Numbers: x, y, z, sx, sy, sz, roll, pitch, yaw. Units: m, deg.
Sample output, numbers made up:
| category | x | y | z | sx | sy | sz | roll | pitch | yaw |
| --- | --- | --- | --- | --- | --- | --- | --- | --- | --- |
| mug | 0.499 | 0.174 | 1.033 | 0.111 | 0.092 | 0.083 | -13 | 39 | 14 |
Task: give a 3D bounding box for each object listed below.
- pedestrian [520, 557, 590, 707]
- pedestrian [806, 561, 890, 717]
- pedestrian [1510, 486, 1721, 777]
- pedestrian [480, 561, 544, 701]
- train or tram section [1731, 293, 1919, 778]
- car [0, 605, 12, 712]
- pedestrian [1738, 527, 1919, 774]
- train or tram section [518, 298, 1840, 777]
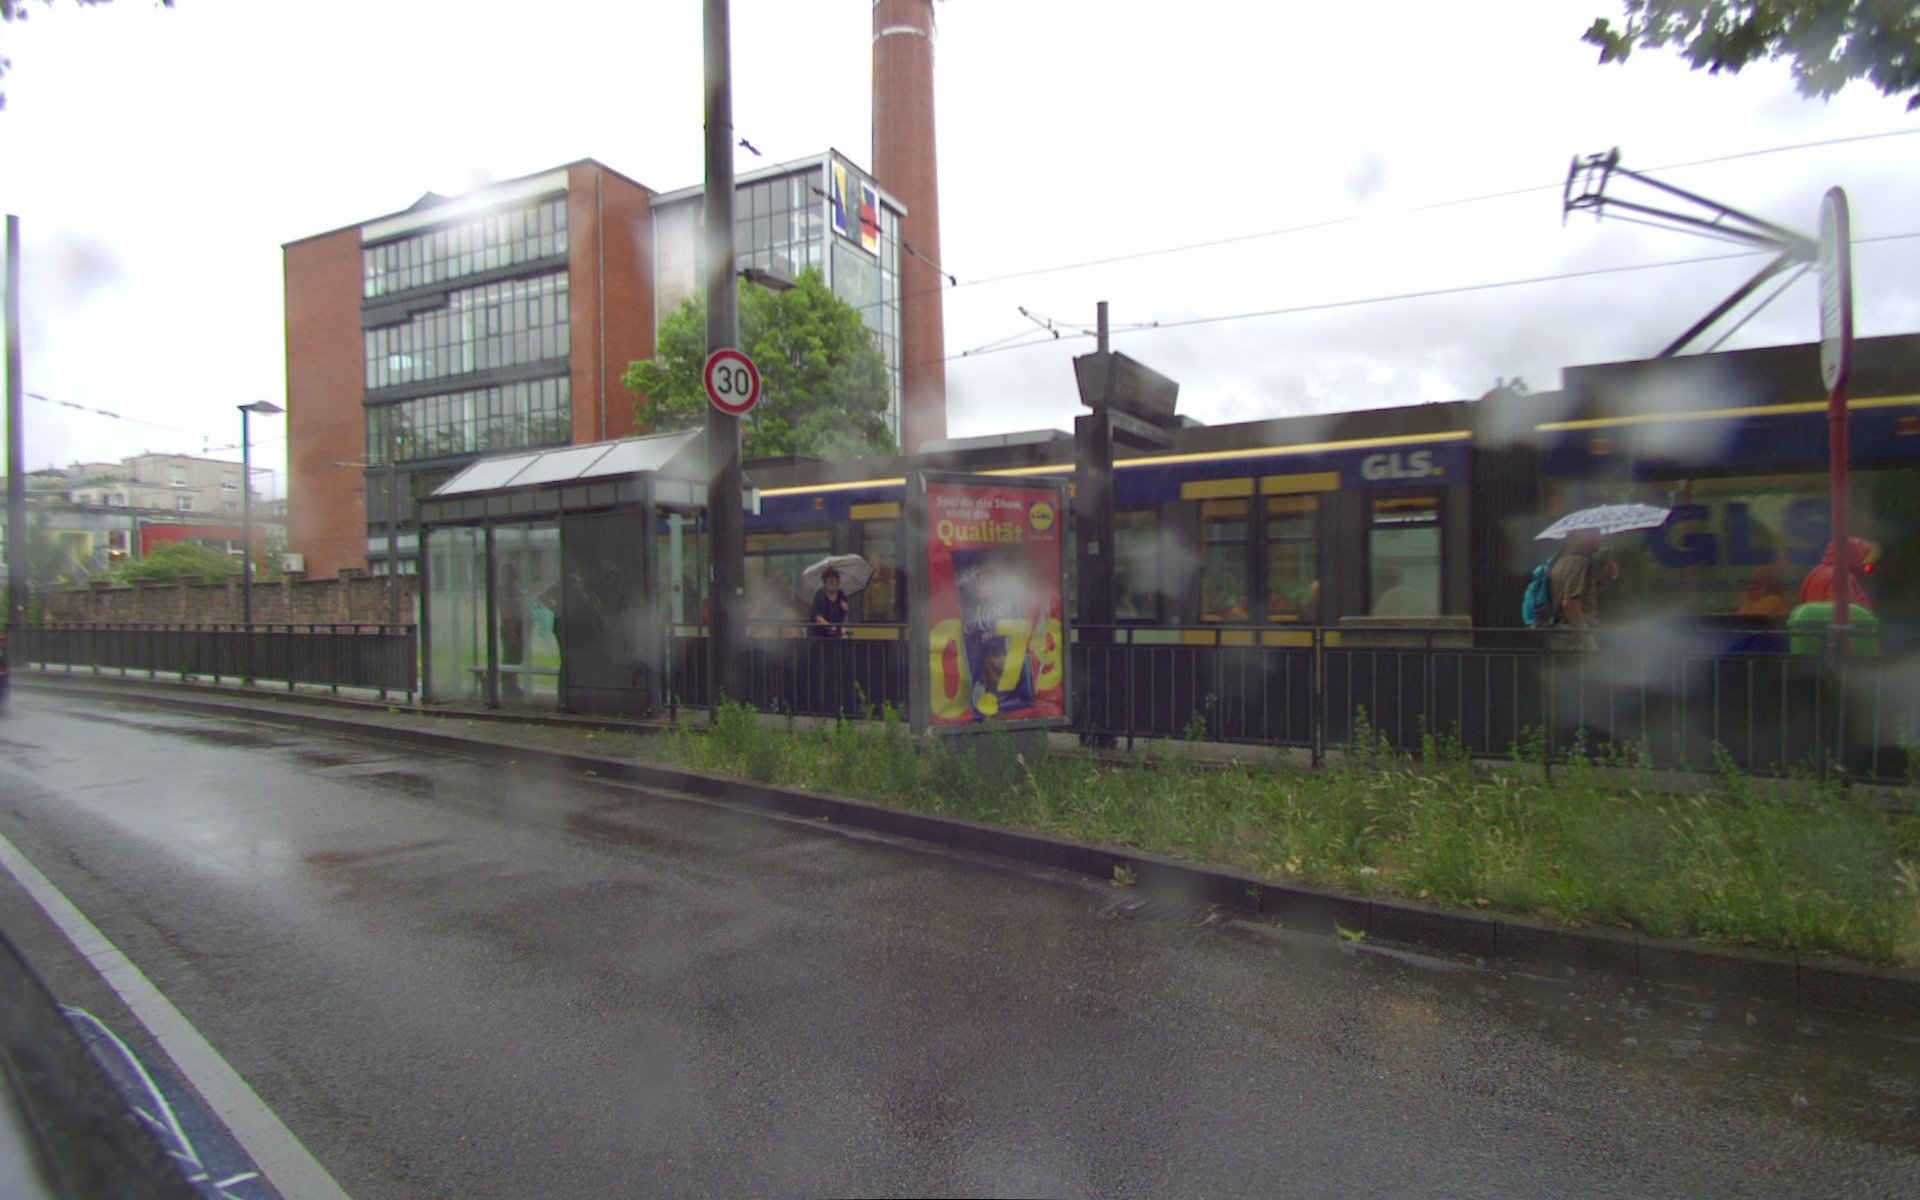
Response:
| category | x | y | z | sx | sy | sz | roll | pitch | yaw |
| --- | --- | --- | --- | --- | --- | --- | --- | --- | --- |
| pedestrian | -4.916 | 0.377 | 12.275 | 0.620 | 1.762 | 0.565 | -1 | 0 | -41 |
| pedestrian | -1.205 | 0.426 | 10.920 | 0.504 | 1.610 | 0.790 | -4 | -4 | 30 |
| pedestrian | 4.537 | 0.238 | 7.110 | 1.072 | 1.840 | 0.975 | -4 | -4 | 30 |
| pedestrian | -5.783 | 0.388 | 13.073 | 0.620 | 1.762 | 0.515 | -1 | 0 | -41 |
| train or tram section | 13.363 | -0.594 | 5.950 | 13.641 | 3.572 | 2.844 | -1 | 0 | 26 |
| car | -17.536 | 0.978 | 16.717 | 4.591 | 1.695 | 1.788 | -2 | -1 | 34 |
| pedestrian | 6.038 | 0.344 | 6.967 | 0.651 | 1.584 | 0.797 | -2 | -3 | 4 |
| train or tram section | 0.624 | -0.351 | 12.670 | 15.313 | 3.572 | 2.840 | -1 | 0 | 31 |
